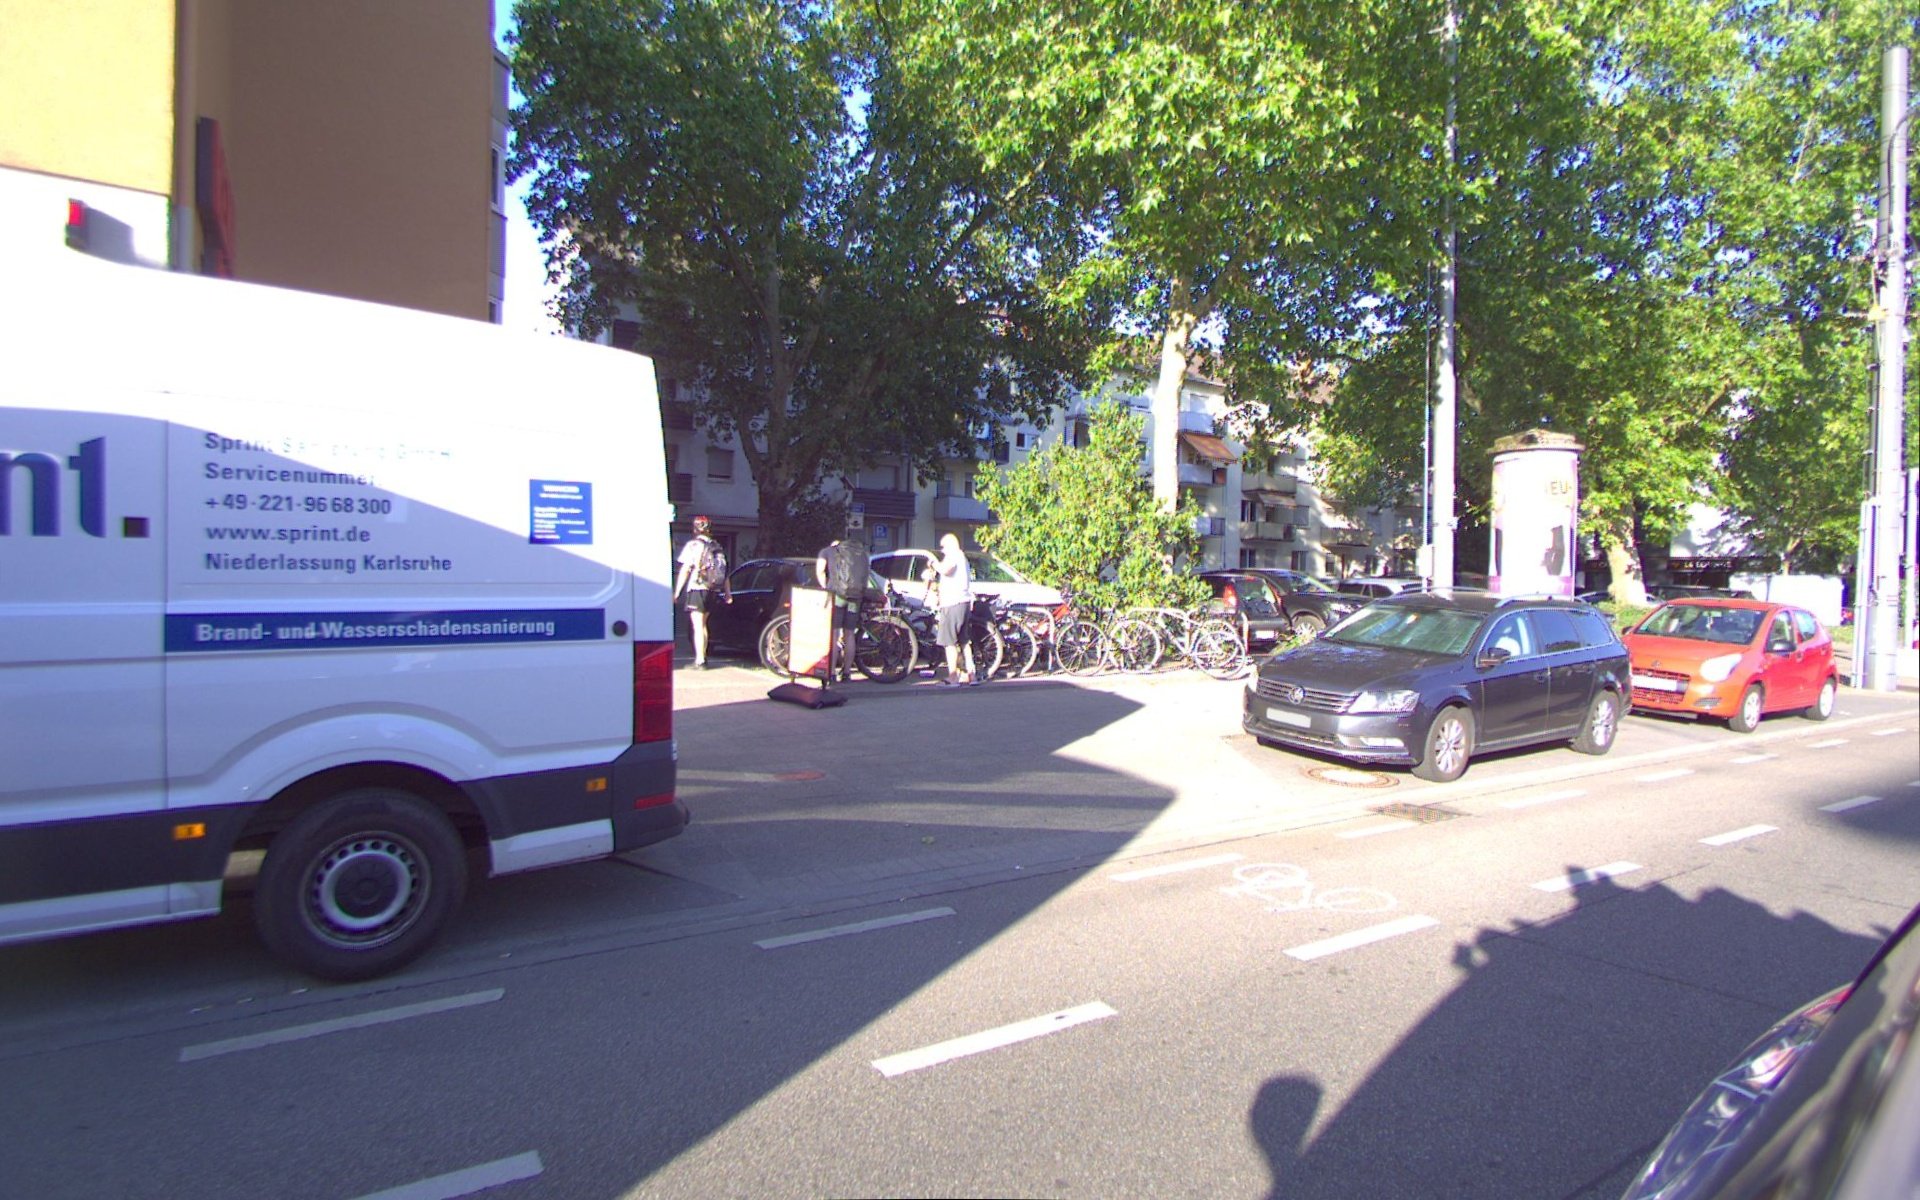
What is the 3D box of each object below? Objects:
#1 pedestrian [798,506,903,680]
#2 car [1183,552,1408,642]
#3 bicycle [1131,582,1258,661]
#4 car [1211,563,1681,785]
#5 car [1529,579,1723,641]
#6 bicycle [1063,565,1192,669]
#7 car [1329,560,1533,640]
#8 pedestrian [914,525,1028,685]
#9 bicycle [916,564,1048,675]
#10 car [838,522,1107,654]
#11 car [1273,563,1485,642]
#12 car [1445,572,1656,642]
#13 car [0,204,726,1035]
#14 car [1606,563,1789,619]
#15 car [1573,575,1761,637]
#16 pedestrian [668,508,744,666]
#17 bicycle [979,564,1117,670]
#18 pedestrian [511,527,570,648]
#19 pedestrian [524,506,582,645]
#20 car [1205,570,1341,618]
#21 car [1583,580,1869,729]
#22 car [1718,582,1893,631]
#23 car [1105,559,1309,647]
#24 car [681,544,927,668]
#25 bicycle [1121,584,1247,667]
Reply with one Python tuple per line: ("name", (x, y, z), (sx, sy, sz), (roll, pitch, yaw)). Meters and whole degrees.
("pedestrian", (-1.193, -0.091, 10.917), (0.753, 1.772, 0.810), (2, 4, -32))
("car", (6.619, -0.006, 20.366), (1.820, 1.621, 4.035), (0, -1, -33))
("bicycle", (3.291, 0.283, 14.213), (1.659, 1.026, 0.647), (2, 1, 20))
("car", (4.607, 0.524, 9.374), (4.561, 1.549, 1.704), (0, 4, -33))
("car", (18.311, 0.212, 28.020), (1.767, 1.513, 4.130), (0, 2, -31))
("bicycle", (2.129, 0.191, 12.882), (1.558, 1.242, 0.645), (2, 1, 12))
("car", (10.589, -0.002, 23.010), (1.819, 1.652, 3.855), (0, 0, -31))
("pedestrian", (0.121, 0.042, 11.177), (0.972, 1.656, 0.661), (1, 4, -40))
("bicycle", (0.255, 0.211, 11.991), (1.500, 1.242, 0.401), (2, 1, 18))
("car", (0.005, -0.116, 15.791), (1.961, 1.731, 4.634), (0, -1, -33))
("car", (8.841, 0.086, 21.661), (1.819, 1.514, 3.855), (0, -1, -31))
("car", (14.355, 0.103, 24.847), (1.767, 1.513, 4.130), (0, 2, -31))
("car", (-3.973, -0.001, 3.684), (5.671, 2.581, 2.026), (0, 5, -32))
("car", (22.309, -0.232, 30.777), (1.767, 1.570, 4.128), (0, -1, -31))
("car", (20.533, 0.113, 29.559), (1.767, 1.619, 4.130), (0, 2, -31))
("pedestrian", (-3.015, -0.166, 12.009), (0.639, 1.803, 0.529), (1, 4, -40))
("bicycle", (1.081, 0.201, 12.389), (1.563, 1.242, 0.647), (0, 0, 20))
("pedestrian", (-5.654, -0.182, 13.630), (0.633, 1.587, 0.417), (2, 1, 28))
("pedestrian", (-5.709, -0.345, 14.215), (0.567, 1.905, 0.471), (1, 1, 17))
("car", (10.986, -0.253, 35.802), (1.962, 1.554, 4.296), (0, 2, -36))
("car", (9.426, 0.572, 12.402), (3.555, 1.512, 1.576), (0, 4, -32))
("car", (29.166, 0.176, 35.047), (1.962, 1.514, 4.296), (0, 2, -36))
("car", (4.570, 0.082, 19.157), (1.739, 1.502, 3.509), (0, -1, -33))
("car", (-2.349, -0.023, 14.355), (1.962, 1.449, 4.030), (-3, 4, -33))
("bicycle", (2.991, 0.315, 13.522), (1.563, 1.026, 0.647), (2, 1, 20))
